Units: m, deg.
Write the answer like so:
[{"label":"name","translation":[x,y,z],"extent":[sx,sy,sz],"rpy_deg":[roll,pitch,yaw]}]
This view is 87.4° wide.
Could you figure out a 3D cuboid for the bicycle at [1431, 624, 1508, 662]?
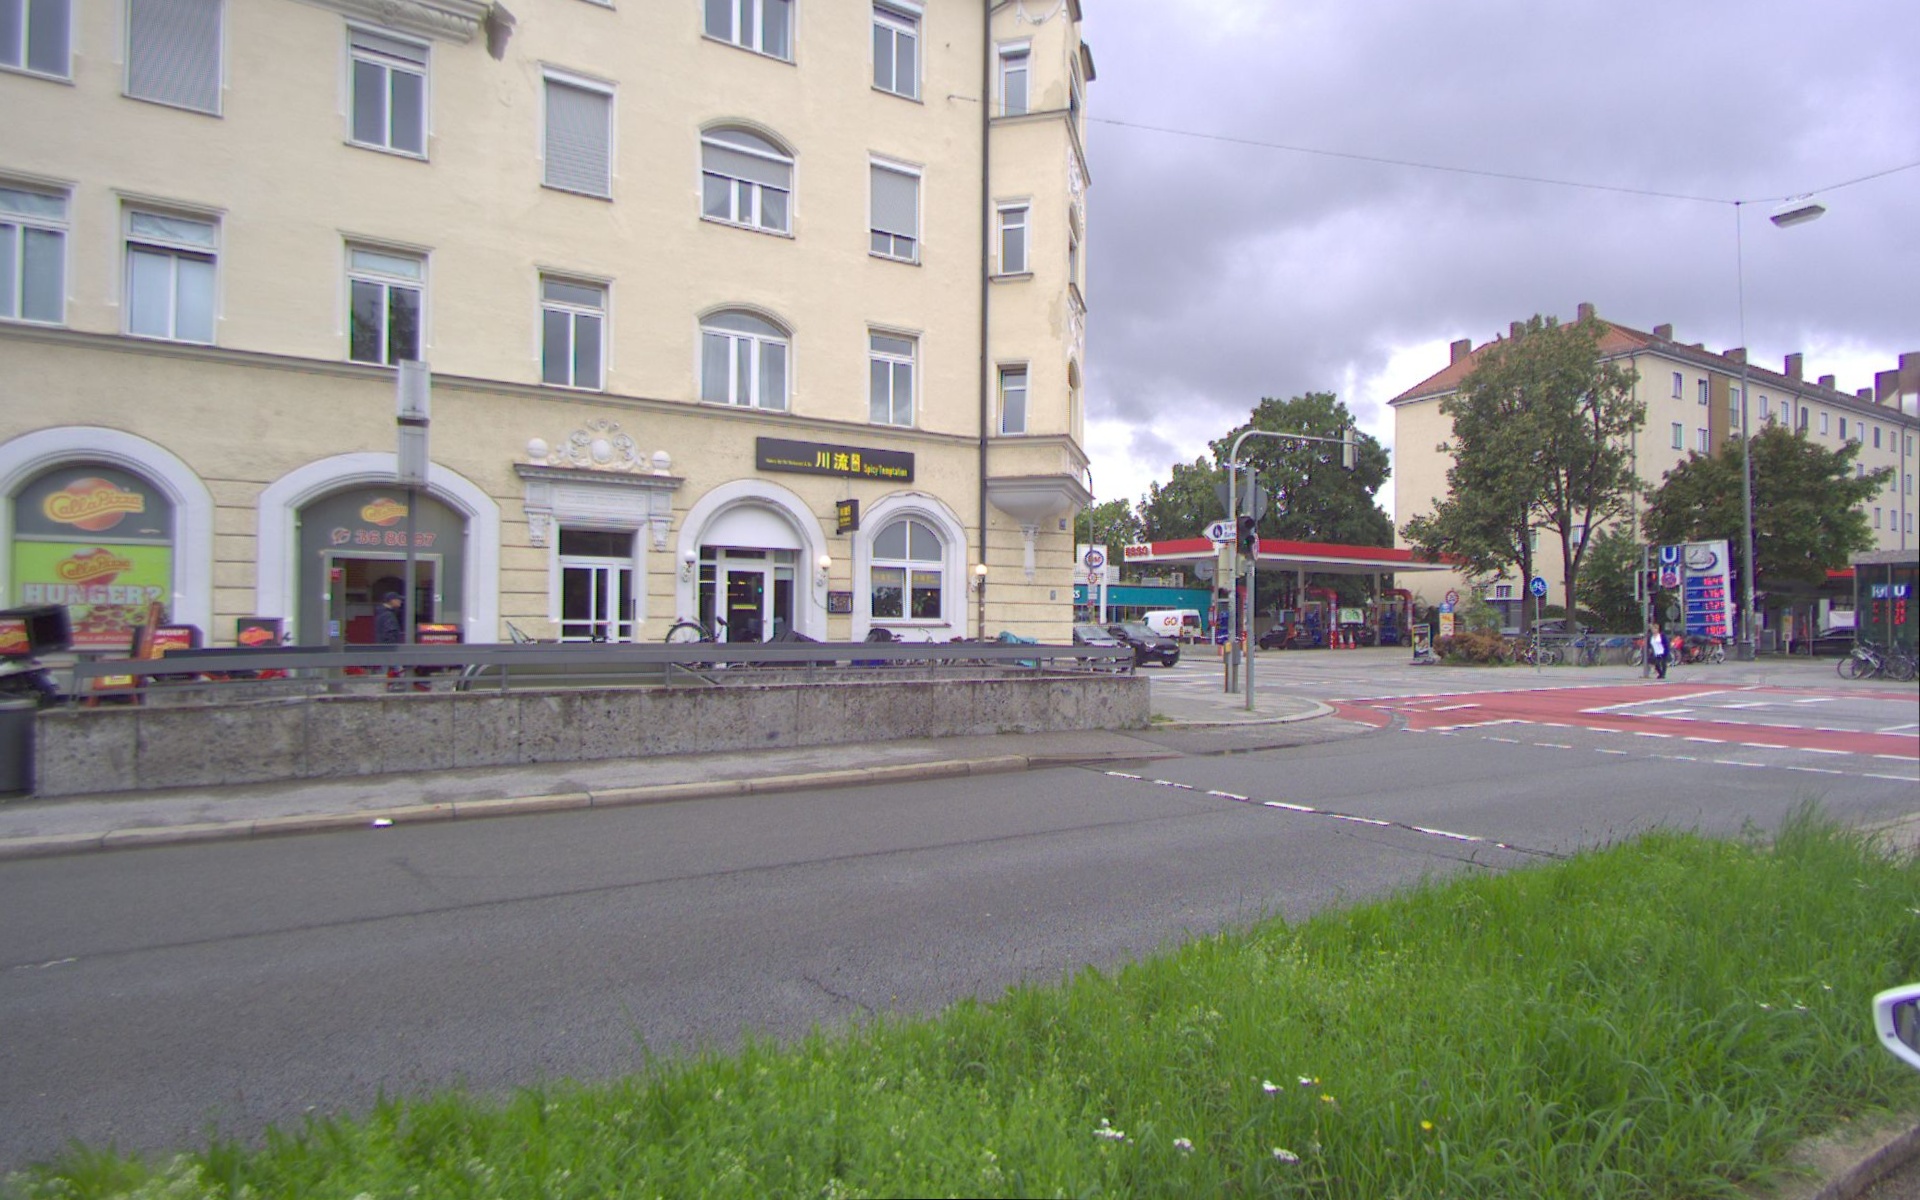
[{"label":"bicycle","translation":[18.667,1.546,36.841],"extent":[0.785,1.267,2.374],"rpy_deg":[1,0,-40]}]

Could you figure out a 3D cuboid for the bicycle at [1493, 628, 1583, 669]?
[{"label":"bicycle","translation":[20.143,1.683,35.069],"extent":[2.664,1.267,0.792],"rpy_deg":[2,0,30]}]

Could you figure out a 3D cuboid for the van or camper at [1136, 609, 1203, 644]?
[{"label":"van or camper","translation":[14.453,1.810,69.578],"extent":[1.899,2.354,4.508],"rpy_deg":[1,-1,-34]}]

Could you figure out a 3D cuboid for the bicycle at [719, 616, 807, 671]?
[{"label":"bicycle","translation":[-3.648,0.795,18.646],"extent":[1.527,0.993,0.470],"rpy_deg":[1,-1,-30]}]

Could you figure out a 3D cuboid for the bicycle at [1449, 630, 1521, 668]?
[{"label":"bicycle","translation":[18.606,1.715,35.642],"extent":[0.760,1.252,2.161],"rpy_deg":[1,-1,-41]}]

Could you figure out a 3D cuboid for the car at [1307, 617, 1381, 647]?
[{"label":"car","translation":[23.477,1.925,61.507],"extent":[1.836,1.808,3.968],"rpy_deg":[1,-1,-30]}]

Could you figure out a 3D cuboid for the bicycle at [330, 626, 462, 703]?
[{"label":"bicycle","translation":[-7.598,0.848,13.581],"extent":[1.527,0.993,0.470],"rpy_deg":[1,-1,-30]}]

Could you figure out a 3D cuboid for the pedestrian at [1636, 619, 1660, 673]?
[{"label":"pedestrian","translation":[21.880,1.453,31.949],"extent":[0.581,1.718,0.576],"rpy_deg":[0,-1,30]}]

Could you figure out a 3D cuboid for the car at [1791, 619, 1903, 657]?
[{"label":"car","translation":[45.245,1.902,51.317],"extent":[1.860,1.862,3.965],"rpy_deg":[1,-1,-32]}]

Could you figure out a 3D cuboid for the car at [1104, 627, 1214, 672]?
[{"label":"car","translation":[7.987,1.956,40.804],"extent":[1.763,1.668,4.745],"rpy_deg":[1,-1,-29]}]

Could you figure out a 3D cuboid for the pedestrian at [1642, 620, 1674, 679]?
[{"label":"pedestrian","translation":[20.401,1.445,29.371],"extent":[0.568,1.718,0.533],"rpy_deg":[1,-1,-19]}]

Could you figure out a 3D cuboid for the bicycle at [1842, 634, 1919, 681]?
[{"label":"bicycle","translation":[27.541,1.690,29.571],"extent":[0.685,1.322,2.275],"rpy_deg":[1,-1,-28]}]

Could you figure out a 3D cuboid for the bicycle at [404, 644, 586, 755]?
[{"label":"bicycle","translation":[-5.150,1.069,11.211],"extent":[1.798,1.130,0.392],"rpy_deg":[1,-1,-39]}]

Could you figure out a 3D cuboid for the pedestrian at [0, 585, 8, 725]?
[{"label":"pedestrian","translation":[-12.105,0.665,12.133],"extent":[0.762,1.719,0.540],"rpy_deg":[1,-1,-32]}]

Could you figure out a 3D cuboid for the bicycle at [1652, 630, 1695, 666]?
[{"label":"bicycle","translation":[25.137,1.677,35.376],"extent":[2.166,1.252,0.603],"rpy_deg":[1,-1,-37]}]

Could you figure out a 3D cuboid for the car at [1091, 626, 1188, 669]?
[{"label":"car","translation":[6.357,1.654,35.840],"extent":[1.643,1.430,3.535],"rpy_deg":[1,-1,-27]}]

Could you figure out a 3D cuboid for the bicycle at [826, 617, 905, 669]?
[{"label":"bicycle","translation":[-1.888,0.849,20.102],"extent":[1.527,0.993,0.470],"rpy_deg":[1,-1,-30]}]

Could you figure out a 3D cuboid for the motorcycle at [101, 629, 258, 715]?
[{"label":"motorcycle","translation":[-11.119,1.011,14.322],"extent":[1.947,1.137,0.610],"rpy_deg":[1,-1,10]}]

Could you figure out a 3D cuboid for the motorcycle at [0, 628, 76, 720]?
[{"label":"motorcycle","translation":[-12.888,0.951,13.351],"extent":[1.947,1.145,0.610],"rpy_deg":[1,-1,10]}]

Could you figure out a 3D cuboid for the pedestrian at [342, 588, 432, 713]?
[{"label":"pedestrian","translation":[-8.180,0.704,14.368],"extent":[0.583,1.719,0.943],"rpy_deg":[0,-1,32]}]

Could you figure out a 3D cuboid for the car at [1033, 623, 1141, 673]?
[{"label":"car","translation":[4.119,1.531,33.134],"extent":[1.646,1.537,3.599],"rpy_deg":[1,-1,-32]}]

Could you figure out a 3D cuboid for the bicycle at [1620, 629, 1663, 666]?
[{"label":"bicycle","translation":[24.116,1.668,35.535],"extent":[2.166,1.252,0.603],"rpy_deg":[1,-1,-37]}]

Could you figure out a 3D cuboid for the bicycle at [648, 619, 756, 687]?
[{"label":"bicycle","translation":[-3.918,0.791,15.277],"extent":[1.527,0.993,0.470],"rpy_deg":[1,-1,-30]}]

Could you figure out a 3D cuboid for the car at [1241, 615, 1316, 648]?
[{"label":"car","translation":[18.195,1.794,57.557],"extent":[1.836,1.808,3.968],"rpy_deg":[1,-1,-30]}]

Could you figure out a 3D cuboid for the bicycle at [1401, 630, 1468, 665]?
[{"label":"bicycle","translation":[17.597,1.751,37.289],"extent":[0.759,1.252,2.163],"rpy_deg":[1,-1,-39]}]

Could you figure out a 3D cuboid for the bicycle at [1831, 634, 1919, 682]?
[{"label":"bicycle","translation":[26.867,1.662,29.201],"extent":[0.695,1.322,2.262],"rpy_deg":[1,-1,-28]}]

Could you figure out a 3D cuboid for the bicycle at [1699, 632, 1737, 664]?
[{"label":"bicycle","translation":[28.499,1.787,37.761],"extent":[1.947,1.160,0.603],"rpy_deg":[1,-1,-37]}]
